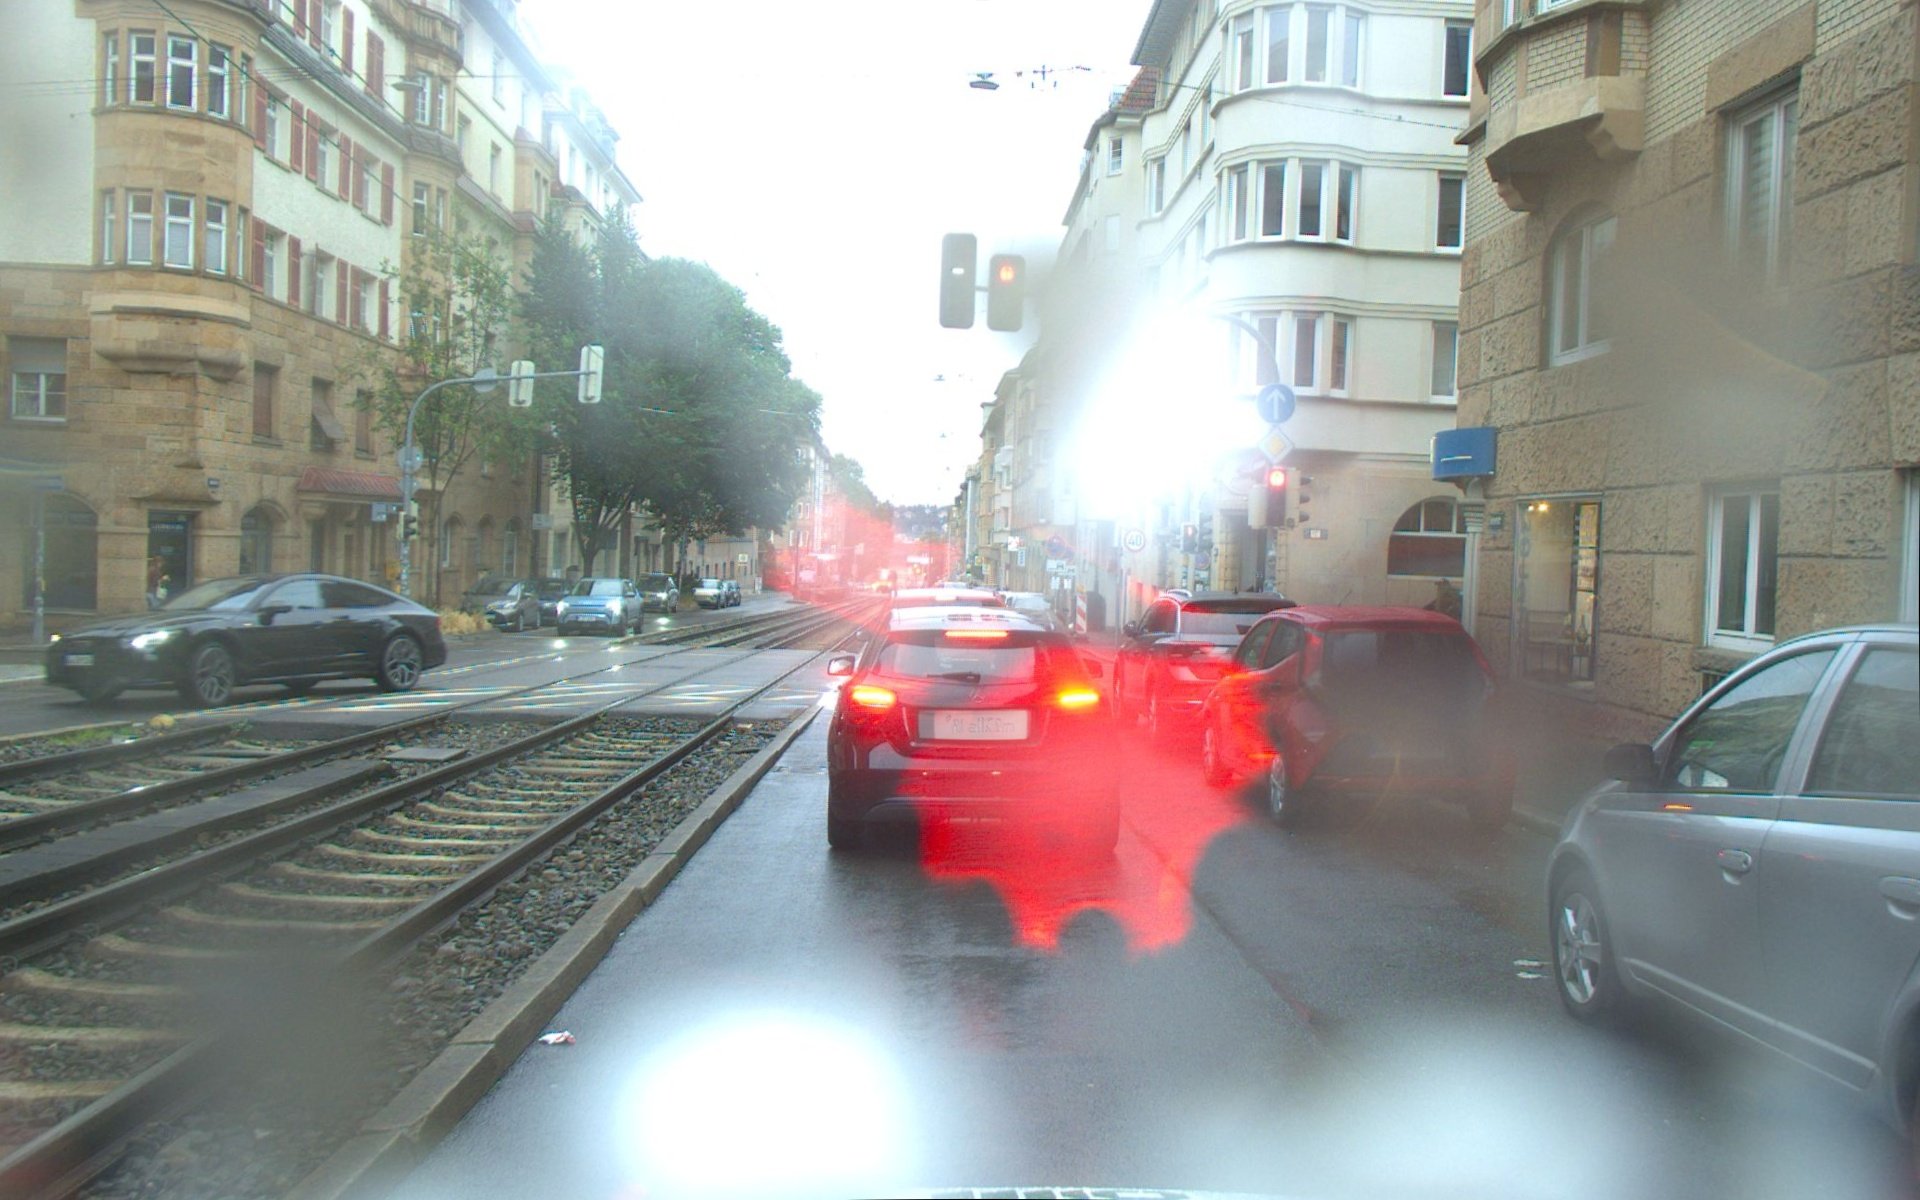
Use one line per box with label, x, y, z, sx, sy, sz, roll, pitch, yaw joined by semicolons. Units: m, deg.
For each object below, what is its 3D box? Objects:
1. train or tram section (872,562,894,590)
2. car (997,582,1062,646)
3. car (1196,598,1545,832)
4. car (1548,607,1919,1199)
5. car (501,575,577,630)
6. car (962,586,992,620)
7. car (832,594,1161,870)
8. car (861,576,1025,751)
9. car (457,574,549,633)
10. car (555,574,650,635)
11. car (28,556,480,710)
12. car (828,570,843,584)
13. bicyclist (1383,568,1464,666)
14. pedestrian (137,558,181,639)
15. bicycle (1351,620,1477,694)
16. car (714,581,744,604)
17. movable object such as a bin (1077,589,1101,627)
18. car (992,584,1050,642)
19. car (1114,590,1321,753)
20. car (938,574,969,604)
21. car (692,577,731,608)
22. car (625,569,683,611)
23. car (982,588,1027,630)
train or tram section;-11.458;-3.473;246.794;2.726;3.928;10.427;1;0;-1
car;1.845;0.343;44.430;1.513;1.618;3.547;1;0;-1
car;2.889;0.743;12.323;1.609;1.473;3.297;1;0;-3
car;3.101;0.783;4.863;1.581;1.493;3.312;0;0;0
car;-13.264;0.094;52.297;1.683;1.639;3.914;1;0;-5
car;0.752;0.122;75.371;1.268;1.467;2.928;1;0;-1
car;0.173;0.725;11.216;1.792;1.483;4.103;1;0;-1
car;-0.189;0.610;17.599;1.533;1.637;3.813;1;0;-1
car;-13.004;0.113;47.270;1.718;1.579;4.032;1;0;-4
car;-10.039;0.131;46.699;1.860;1.615;3.972;1;0;-1
car;-8.084;0.339;19.525;1.768;1.550;4.960;1;0;26
car;-12.319;-2.282;164.151;1.349;1.271;3.296;1;0;-2
bicyclist;7.930;0.286;28.370;1.223;1.625;0.888;1;-1;9
pedestrian;-17.082;-0.037;35.263;0.696;1.702;0.624;1;-1;-39
bicycle;7.779;0.971;28.397;1.987;1.207;0.827;1;-1;9
car;-13.977;-0.456;100.147;1.419;1.354;3.270;1;0;-2
movable object such as a bin;4.782;0.296;61.405;0.859;1.413;0.983;1;-1;3
car;1.778;0.369;48.903;1.513;1.618;3.547;1;0;-1
car;2.617;0.671;17.559;1.513;1.512;3.829;1;0;-1
car;-0.434;-0.689;109.675;1.953;1.909;3.999;1;0;-1
car;-13.617;-0.400;90.742;1.557;1.608;3.917;1;0;-1
car;-13.534;-0.428;73.280;1.837;1.767;3.917;1;0;-1
car;1.683;0.317;63.312;1.513;1.512;3.547;1;0;-1
